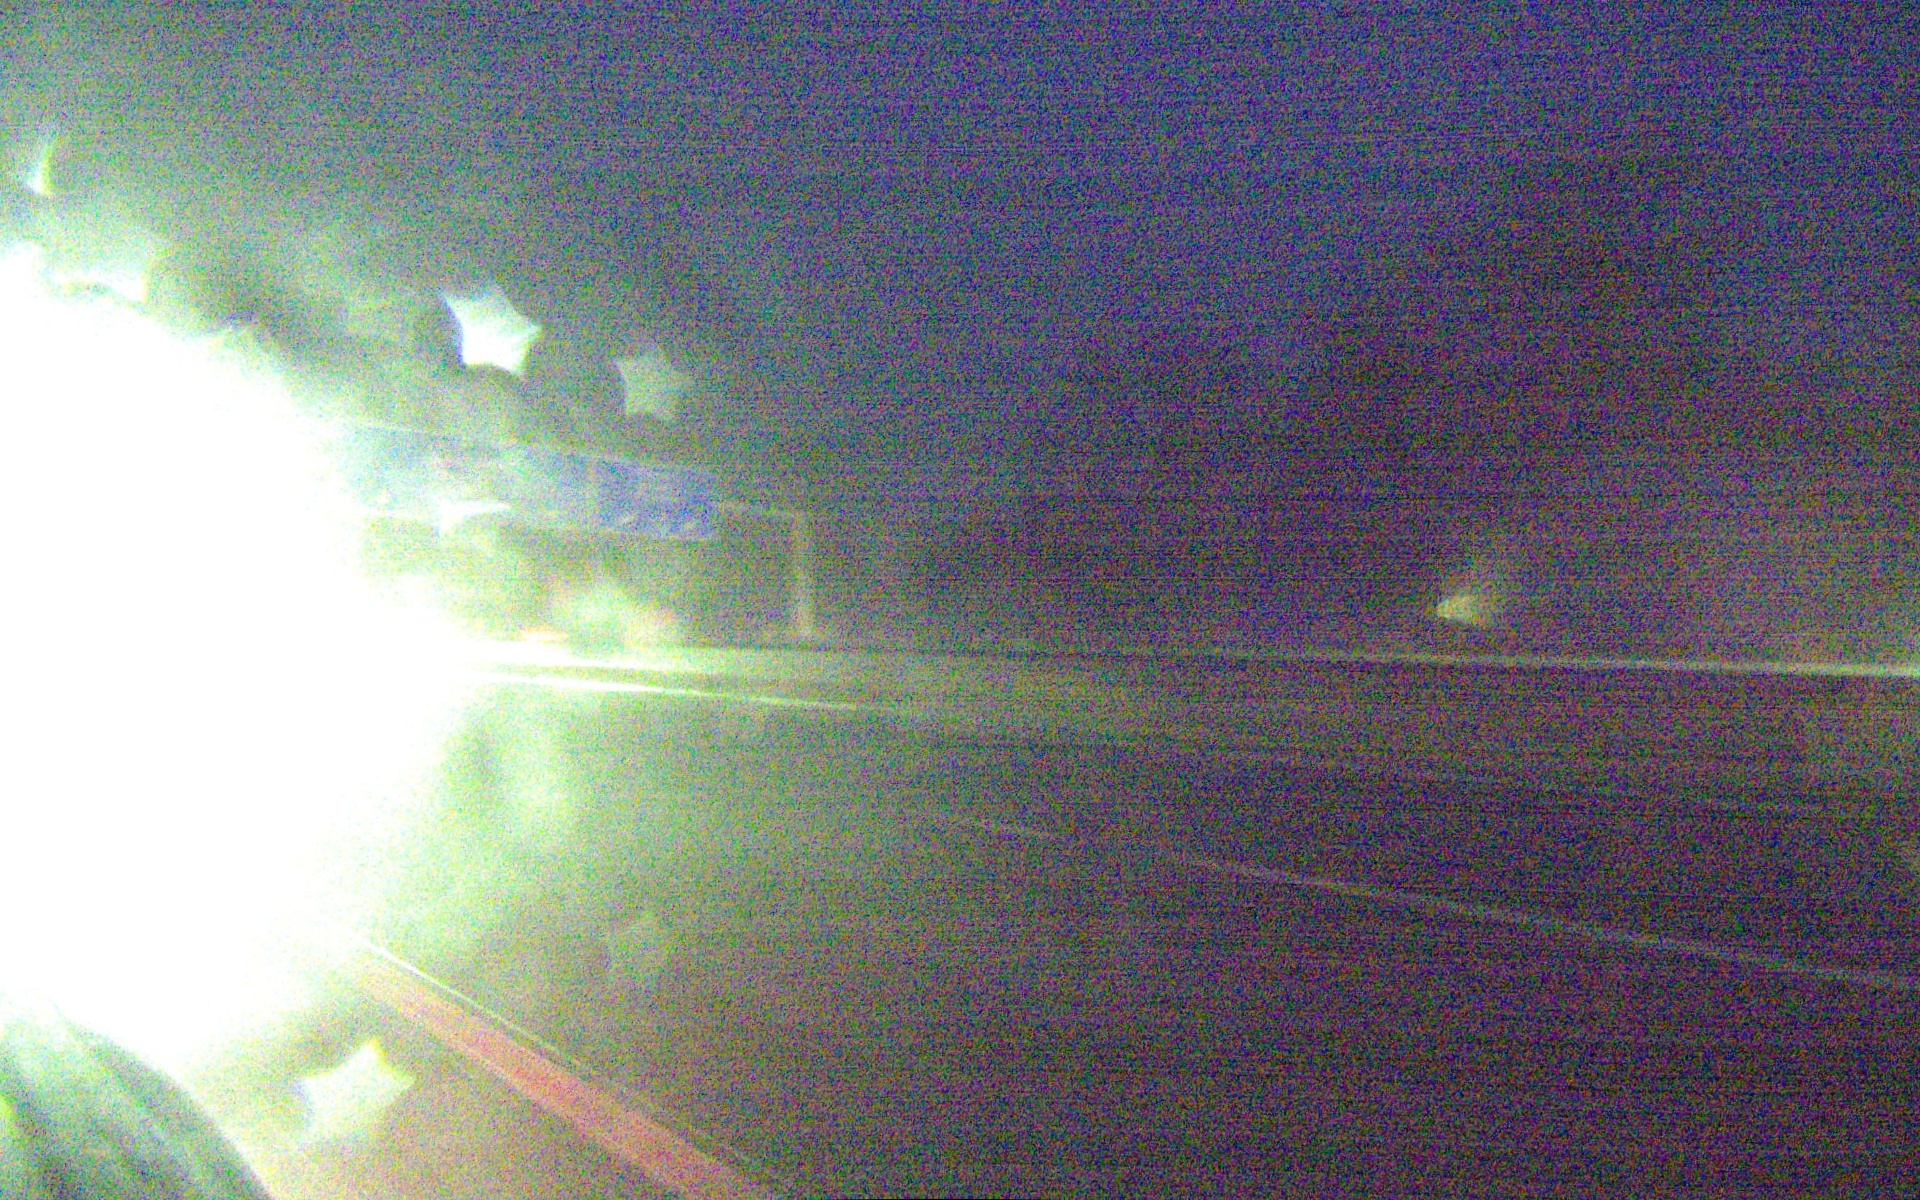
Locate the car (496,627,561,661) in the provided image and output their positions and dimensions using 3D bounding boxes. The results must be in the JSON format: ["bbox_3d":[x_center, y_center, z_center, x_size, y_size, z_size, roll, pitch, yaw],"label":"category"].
[{"bbox_3d":[-24.201,2.429,56.713,3.998,1.702,1.743,-1,0,41],"label":"car"}]

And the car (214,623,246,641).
[{"bbox_3d":[-69.789,3.039,96.773,3.998,1.524,1.639,-1,0,41],"label":"car"}]

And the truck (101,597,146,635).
[{"bbox_3d":[-127.532,2.380,154.185,12.789,5.634,3.205,-1,0,41],"label":"truck"}]

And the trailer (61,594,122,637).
[{"bbox_3d":[-109.149,1.914,127.030,14.794,5.065,3.749,-1,0,41],"label":"trailer"}]

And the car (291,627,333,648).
[{"bbox_3d":[-52.058,2.978,81.243,3.998,1.584,1.781,-1,0,41],"label":"car"}]
